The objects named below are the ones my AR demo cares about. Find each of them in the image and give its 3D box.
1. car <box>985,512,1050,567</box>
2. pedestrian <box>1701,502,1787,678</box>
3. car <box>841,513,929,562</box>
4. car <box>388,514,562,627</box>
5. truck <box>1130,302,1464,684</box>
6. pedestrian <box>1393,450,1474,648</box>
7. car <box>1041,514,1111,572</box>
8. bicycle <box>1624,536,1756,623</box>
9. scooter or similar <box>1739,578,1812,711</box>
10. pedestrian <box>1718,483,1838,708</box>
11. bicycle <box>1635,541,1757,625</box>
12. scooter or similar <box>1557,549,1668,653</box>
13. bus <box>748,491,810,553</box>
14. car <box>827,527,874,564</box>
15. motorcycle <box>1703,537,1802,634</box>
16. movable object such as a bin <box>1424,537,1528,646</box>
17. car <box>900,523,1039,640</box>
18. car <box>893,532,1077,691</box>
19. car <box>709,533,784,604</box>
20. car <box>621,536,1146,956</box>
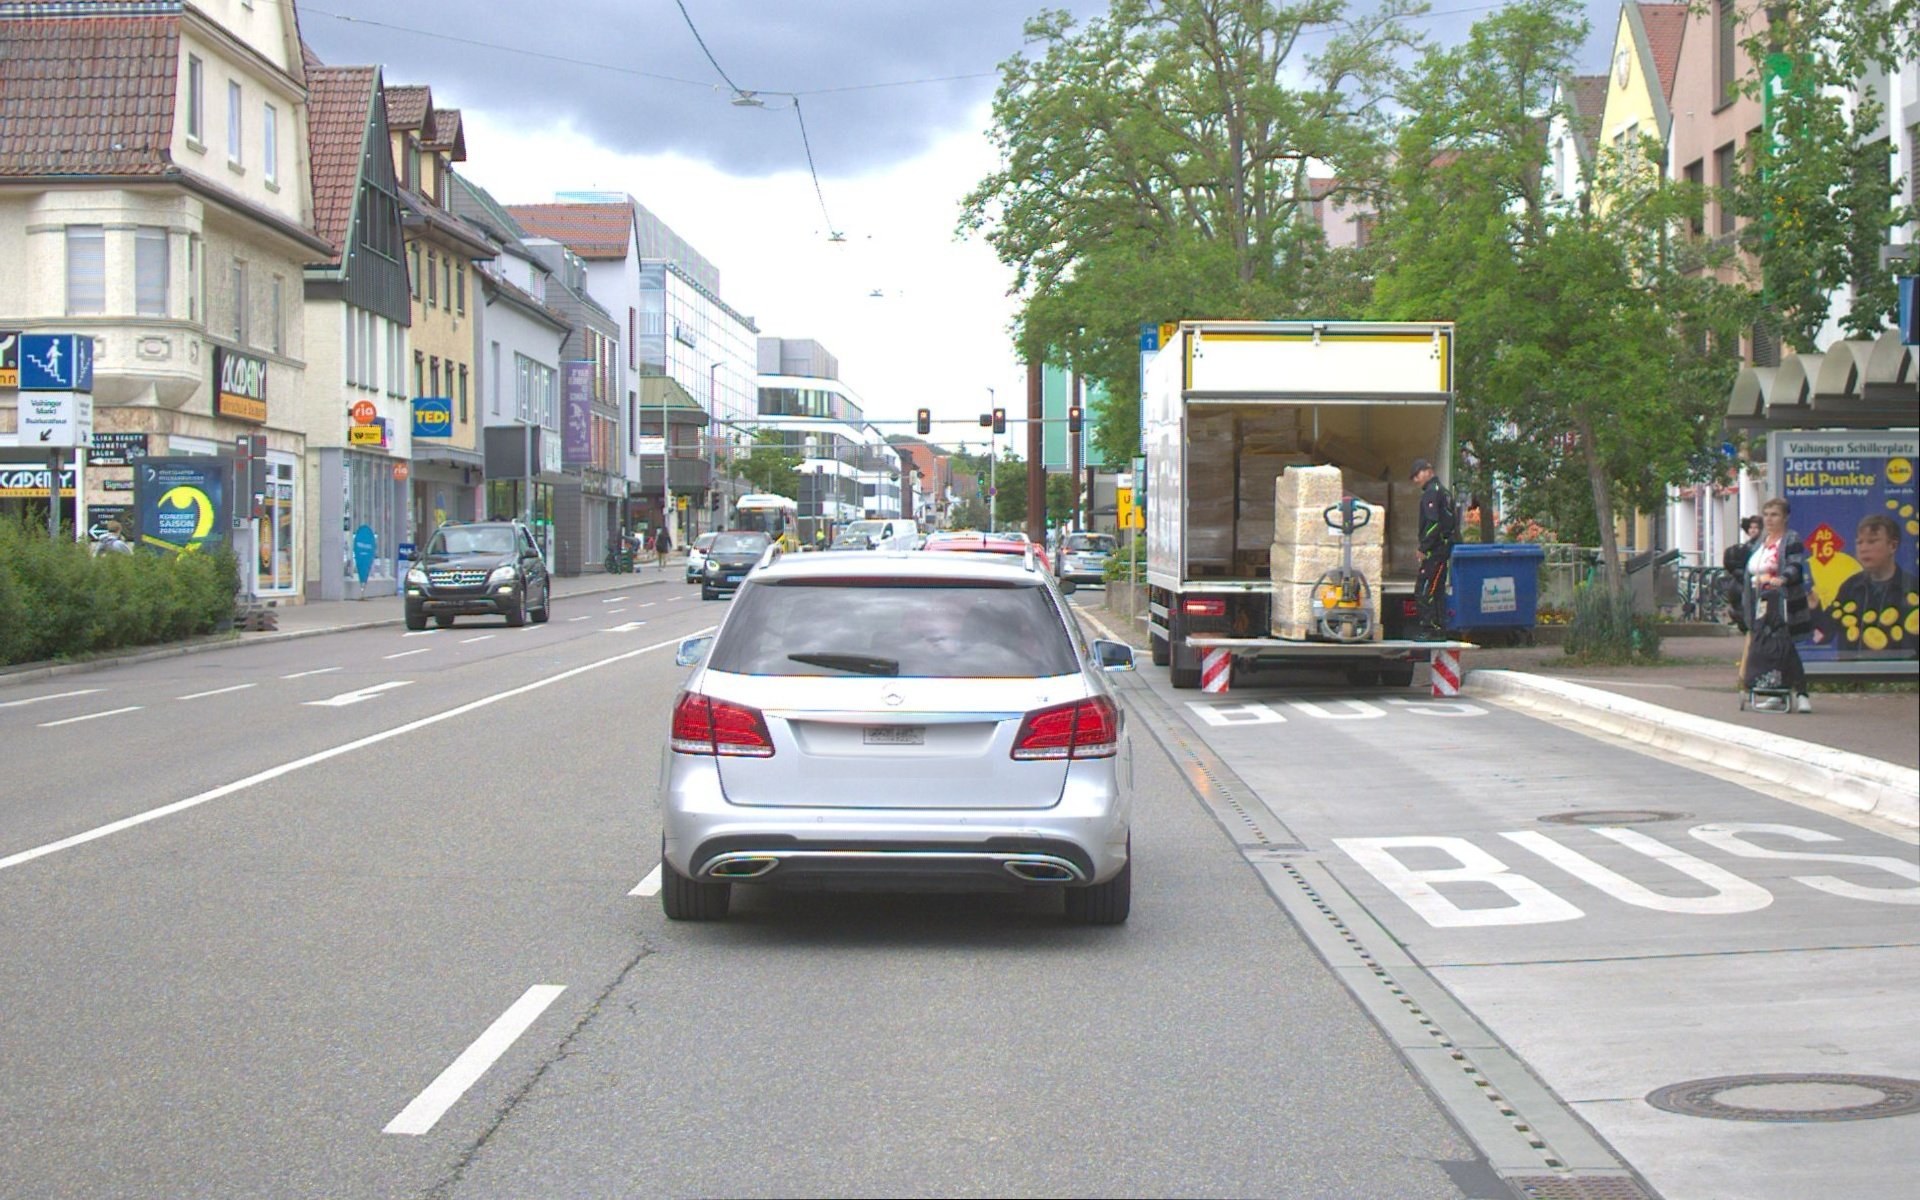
[{"bbox_3d":[1.819,-1.917,108.449,1.993,1.678,4.000,0,1,1],"label":"car"},{"bbox_3d":[7.917,-0.111,34.734,0.613,1.734,0.588,3,1,-3],"label":"pedestrian"},{"bbox_3d":[-3.152,-2.665,145.927,1.963,1.954,5.135,-1,1,20],"label":"car"},{"bbox_3d":[-8.016,-0.525,57.245,2.069,1.732,4.693,-2,1,1],"label":"car"},{"bbox_3d":[3.370,-1.106,36.839,2.688,3.549,9.767,0,1,0],"label":"truck"},{"bbox_3d":[4.296,-0.460,31.209,0.613,1.774,0.588,-1,0,-3],"label":"pedestrian"},{"bbox_3d":[3.388,-1.696,101.045,1.993,1.678,4.000,0,1,1],"label":"car"},{"bbox_3d":[11.198,-0.322,52.777,1.816,1.322,0.843,0,1,-3],"label":"bicycle"},{"bbox_3d":[5.966,0.318,25.165,0.384,0.955,0.355,-2,1,-40],"label":"scooter or similar"},{"bbox_3d":[6.075,-0.038,25.538,0.534,1.629,0.588,2,2,-24],"label":"pedestrian"},{"bbox_3d":[11.099,-0.268,51.884,1.674,1.254,0.670,0,1,-3],"label":"bicycle"},{"bbox_3d":[7.563,0.009,39.883,1.175,1.192,0.460,-1,1,-8],"label":"scooter or similar"},{"bbox_3d":[-9.361,-4.025,178.202,2.775,3.154,5.933,0,1,1],"label":"bus"},{"bbox_3d":[-4.348,-2.170,136.425,1.617,1.423,3.922,-1,1,2],"label":"car"},{"bbox_3d":[10.660,-0.215,46.310,0.736,1.266,2.108,-1,1,-3],"label":"motorcycle"},{"bbox_3d":[6.455,-0.112,43.086,1.143,1.335,1.376,0,1,3],"label":"movable object such as a bin"},{"bbox_3d":[0.177,-0.305,51.264,1.993,1.678,4.000,0,1,1],"label":"car"},{"bbox_3d":[0.263,0.083,34.948,1.754,1.515,4.000,0,1,1],"label":"car"},{"bbox_3d":[-4.792,-0.728,77.277,1.570,1.535,2.961,1,1,-2],"label":"car"},{"bbox_3d":[-0.315,0.491,14.371,1.874,1.501,4.000,1,1,-1],"label":"car"}]
